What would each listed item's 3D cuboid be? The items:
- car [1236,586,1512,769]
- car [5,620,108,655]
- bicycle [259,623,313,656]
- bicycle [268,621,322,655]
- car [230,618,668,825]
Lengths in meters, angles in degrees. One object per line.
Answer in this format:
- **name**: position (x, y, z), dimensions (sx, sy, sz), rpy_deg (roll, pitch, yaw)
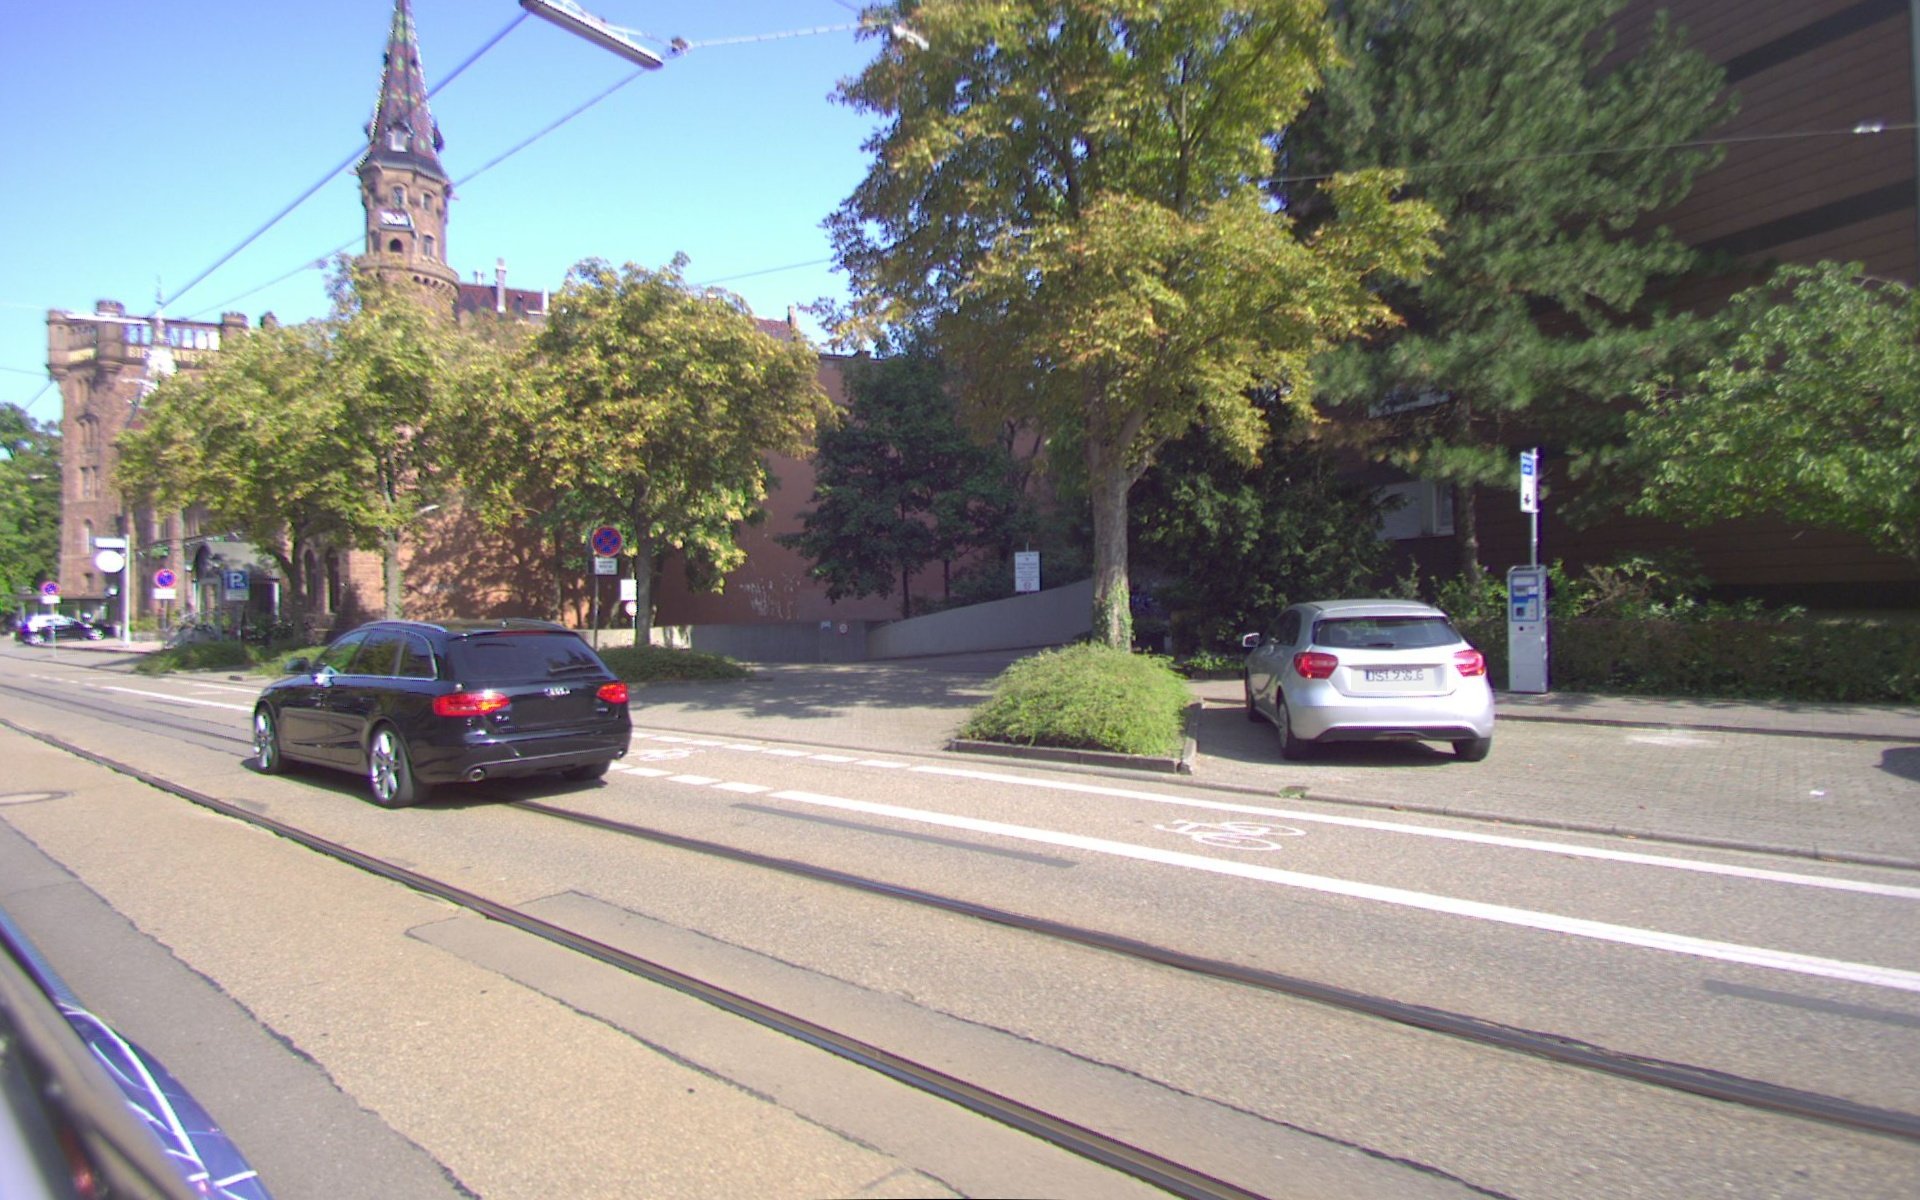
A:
- **car**: position (3.964, 0.659, 10.407), dimensions (1.769, 1.490, 3.987), rpy_deg (-1, 0, 10)
- **car**: position (-55.016, 2.261, 61.678), dimensions (1.955, 1.657, 4.353), rpy_deg (-2, 3, 40)
- **bicycle**: position (-25.672, 1.486, 38.582), dimensions (0.417, 1.082, 1.799), rpy_deg (-2, 4, 17)
- **bicycle**: position (-25.235, 1.434, 38.433), dimensions (0.417, 1.082, 1.799), rpy_deg (-2, 4, 17)
- **car**: position (-4.698, 0.882, 9.000), dimensions (4.508, 1.386, 1.810), rpy_deg (-2, -1, 39)
